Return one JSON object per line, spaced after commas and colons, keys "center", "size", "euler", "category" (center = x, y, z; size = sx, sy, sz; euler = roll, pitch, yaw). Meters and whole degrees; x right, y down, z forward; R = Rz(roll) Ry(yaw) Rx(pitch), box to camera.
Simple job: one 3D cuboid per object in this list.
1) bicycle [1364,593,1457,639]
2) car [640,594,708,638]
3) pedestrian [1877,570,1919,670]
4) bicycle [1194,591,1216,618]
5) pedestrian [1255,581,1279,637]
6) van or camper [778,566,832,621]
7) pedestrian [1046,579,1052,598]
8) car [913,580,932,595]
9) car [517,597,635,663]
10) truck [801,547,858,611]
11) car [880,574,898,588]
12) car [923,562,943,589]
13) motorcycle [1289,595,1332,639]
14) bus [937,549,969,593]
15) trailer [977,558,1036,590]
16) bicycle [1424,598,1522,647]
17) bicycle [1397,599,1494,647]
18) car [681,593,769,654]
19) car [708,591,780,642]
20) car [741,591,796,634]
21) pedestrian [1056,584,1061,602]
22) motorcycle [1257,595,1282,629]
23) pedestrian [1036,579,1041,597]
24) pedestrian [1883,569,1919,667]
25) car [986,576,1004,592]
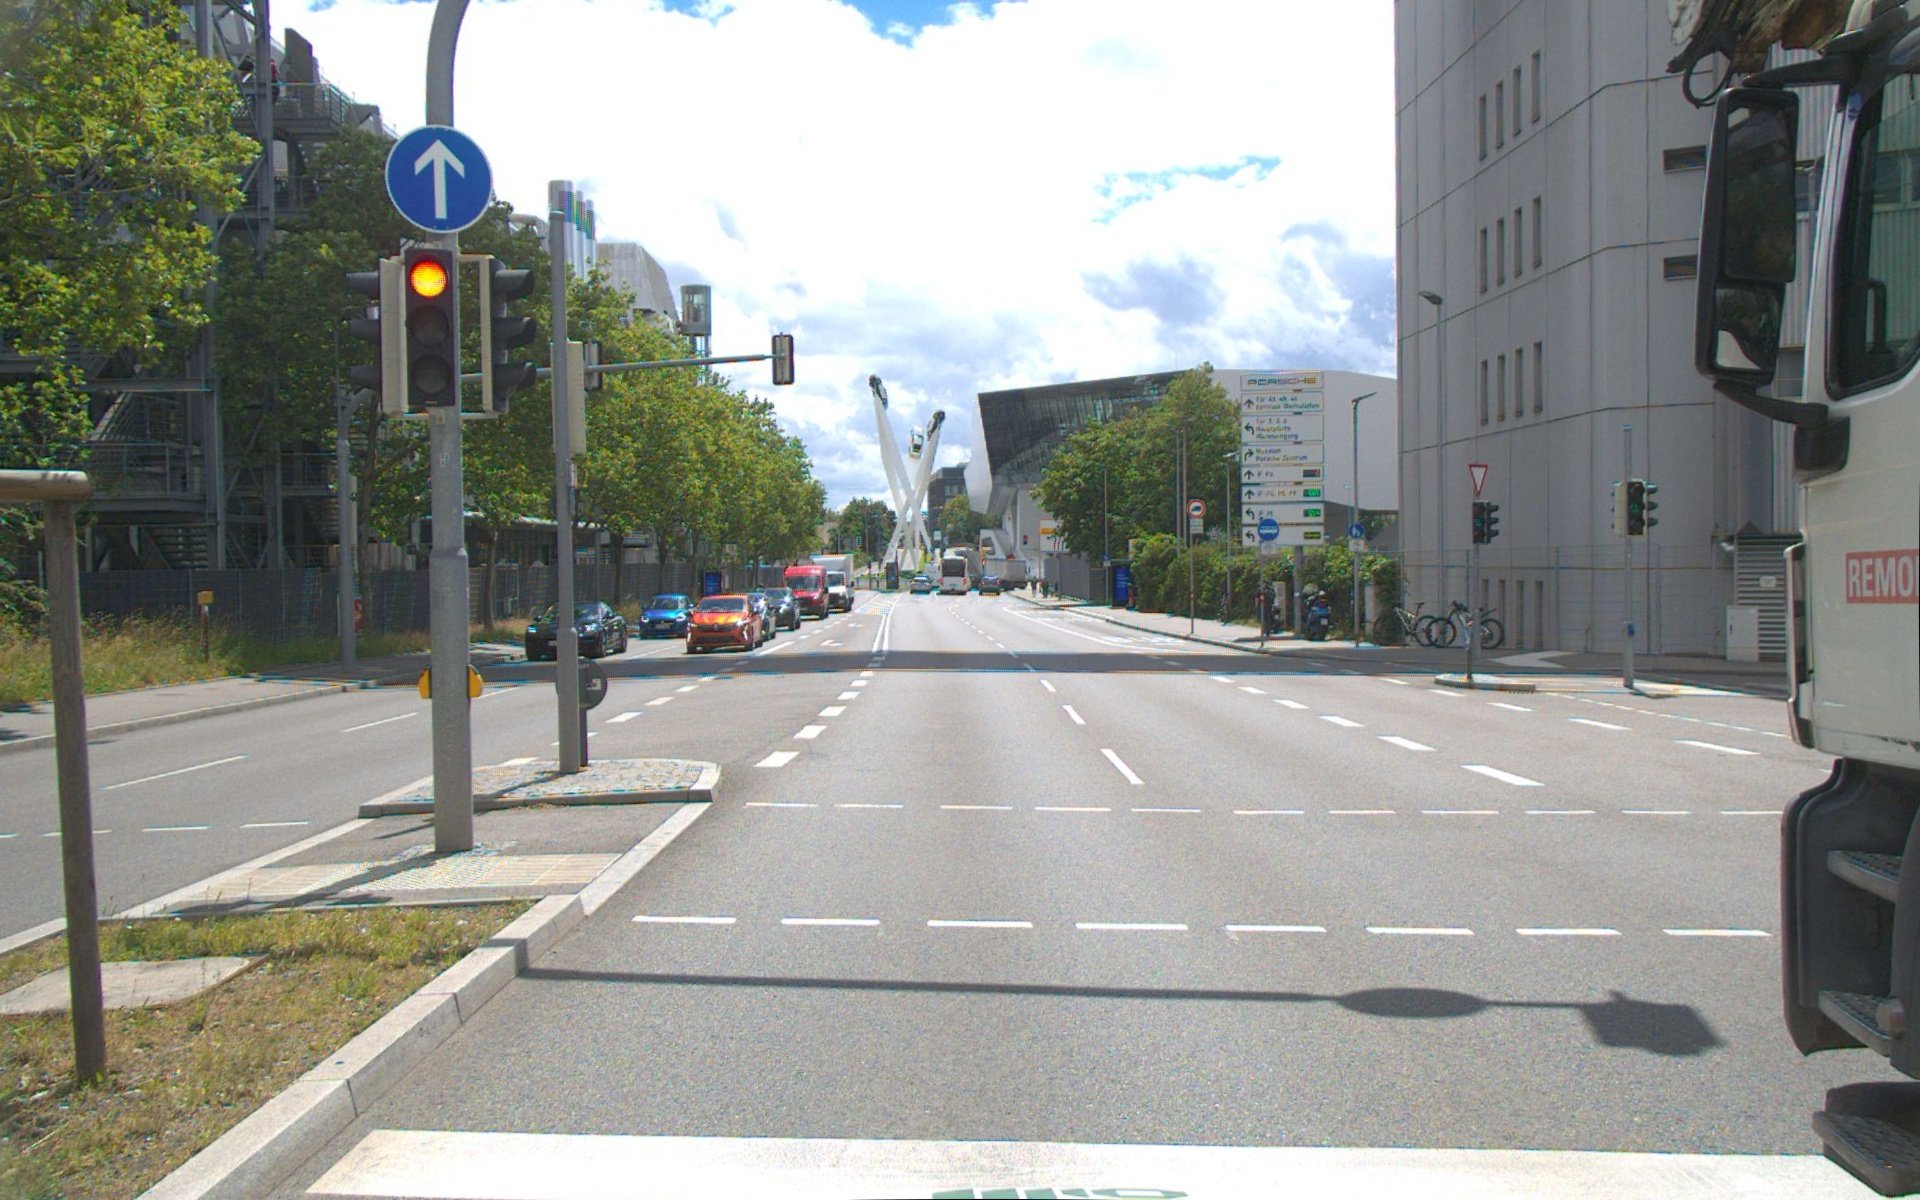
{"center": [11.155, 0.393, 41.024], "size": [2.180, 1.105, 0.475], "euler": [1, -1, 35], "category": "bicycle"}
{"center": [-9.997, 0.541, 57.968], "size": [1.692, 1.406, 3.701], "euler": [-2, 0, 0], "category": "car"}
{"center": [17.710, 0.362, 31.004], "size": [0.694, 1.825, 0.643], "euler": [-3, 1, 12], "category": "pedestrian"}
{"center": [9.675, 0.164, 65.401], "size": [0.410, 1.040, 1.910], "euler": [1, 0, -5], "category": "bicycle"}
{"center": [9.129, 0.268, 49.242], "size": [0.523, 1.669, 0.657], "euler": [1, -1, -6], "category": "pedestrian"}
{"center": [-7.288, -0.316, 78.096], "size": [2.005, 2.509, 5.594], "euler": [0, 0, 0], "category": "van or camper"}
{"center": [6.947, -0.922, 129.215], "size": [0.378, 1.446, 0.423], "euler": [1, -1, 0], "category": "pedestrian"}
{"center": [-3.343, -1.109, 148.650], "size": [1.525, 1.295, 3.701], "euler": [-2, 0, 1], "category": "car"}
{"center": [-9.824, 0.725, 42.660], "size": [1.878, 1.514, 4.772], "euler": [-2, 0, 0], "category": "car"}
{"center": [-7.152, -1.100, 91.642], "size": [2.538, 3.382, 7.078], "euler": [1, 0, 0], "category": "truck"}
{"center": [-6.641, -1.762, 154.902], "size": [1.525, 1.295, 3.701], "euler": [-2, 0, 0], "category": "car"}
{"center": [-2.803, -2.512, 171.267], "size": [1.805, 2.669, 4.001], "euler": [1, 0, 3], "category": "car"}
{"center": [9.551, 0.459, 45.154], "size": [0.410, 1.186, 1.951], "euler": [1, 0, -11], "category": "motorcycle"}
{"center": [-0.609, -2.581, 150.070], "size": [2.730, 3.750, 6.942], "euler": [1, 0, 0], "category": "bus"}
{"center": [4.906, -2.660, 172.165], "size": [3.250, 3.047, 10.380], "euler": [1, 0, 18], "category": "trailer"}
{"center": [12.010, 0.513, 38.773], "size": [2.149, 1.105, 0.475], "euler": [1, -1, 35], "category": "bicycle"}
{"center": [11.640, 0.535, 39.699], "size": [2.180, 1.105, 0.475], "euler": [1, -1, 35], "category": "bicycle"}
{"center": [-6.153, 0.587, 43.623], "size": [1.733, 1.445, 3.701], "euler": [-2, 0, 0], "category": "car"}
{"center": [-6.700, 0.486, 51.629], "size": [1.733, 1.445, 3.701], "euler": [-2, 0, 0], "category": "car"}
{"center": [-7.094, 0.426, 61.521], "size": [1.525, 1.473, 3.772], "euler": [-2, 0, 0], "category": "car"}
{"center": [7.944, -0.576, 133.031], "size": [0.378, 1.446, 0.423], "euler": [1, -1, 0], "category": "pedestrian"}
{"center": [9.743, 0.378, 52.141], "size": [0.448, 1.040, 1.913], "euler": [1, 0, 1], "category": "motorcycle"}
{"center": [6.322, -0.959, 133.039], "size": [0.378, 1.446, 0.423], "euler": [1, -1, 0], "category": "pedestrian"}
{"center": [18.191, 0.332, 31.638], "size": [0.694, 1.825, 0.694], "euler": [-3, 1, 13], "category": "pedestrian"}
{"center": [3.105, -1.391, 146.208], "size": [1.525, 1.295, 3.701], "euler": [-2, 0, 1], "category": "car"}
